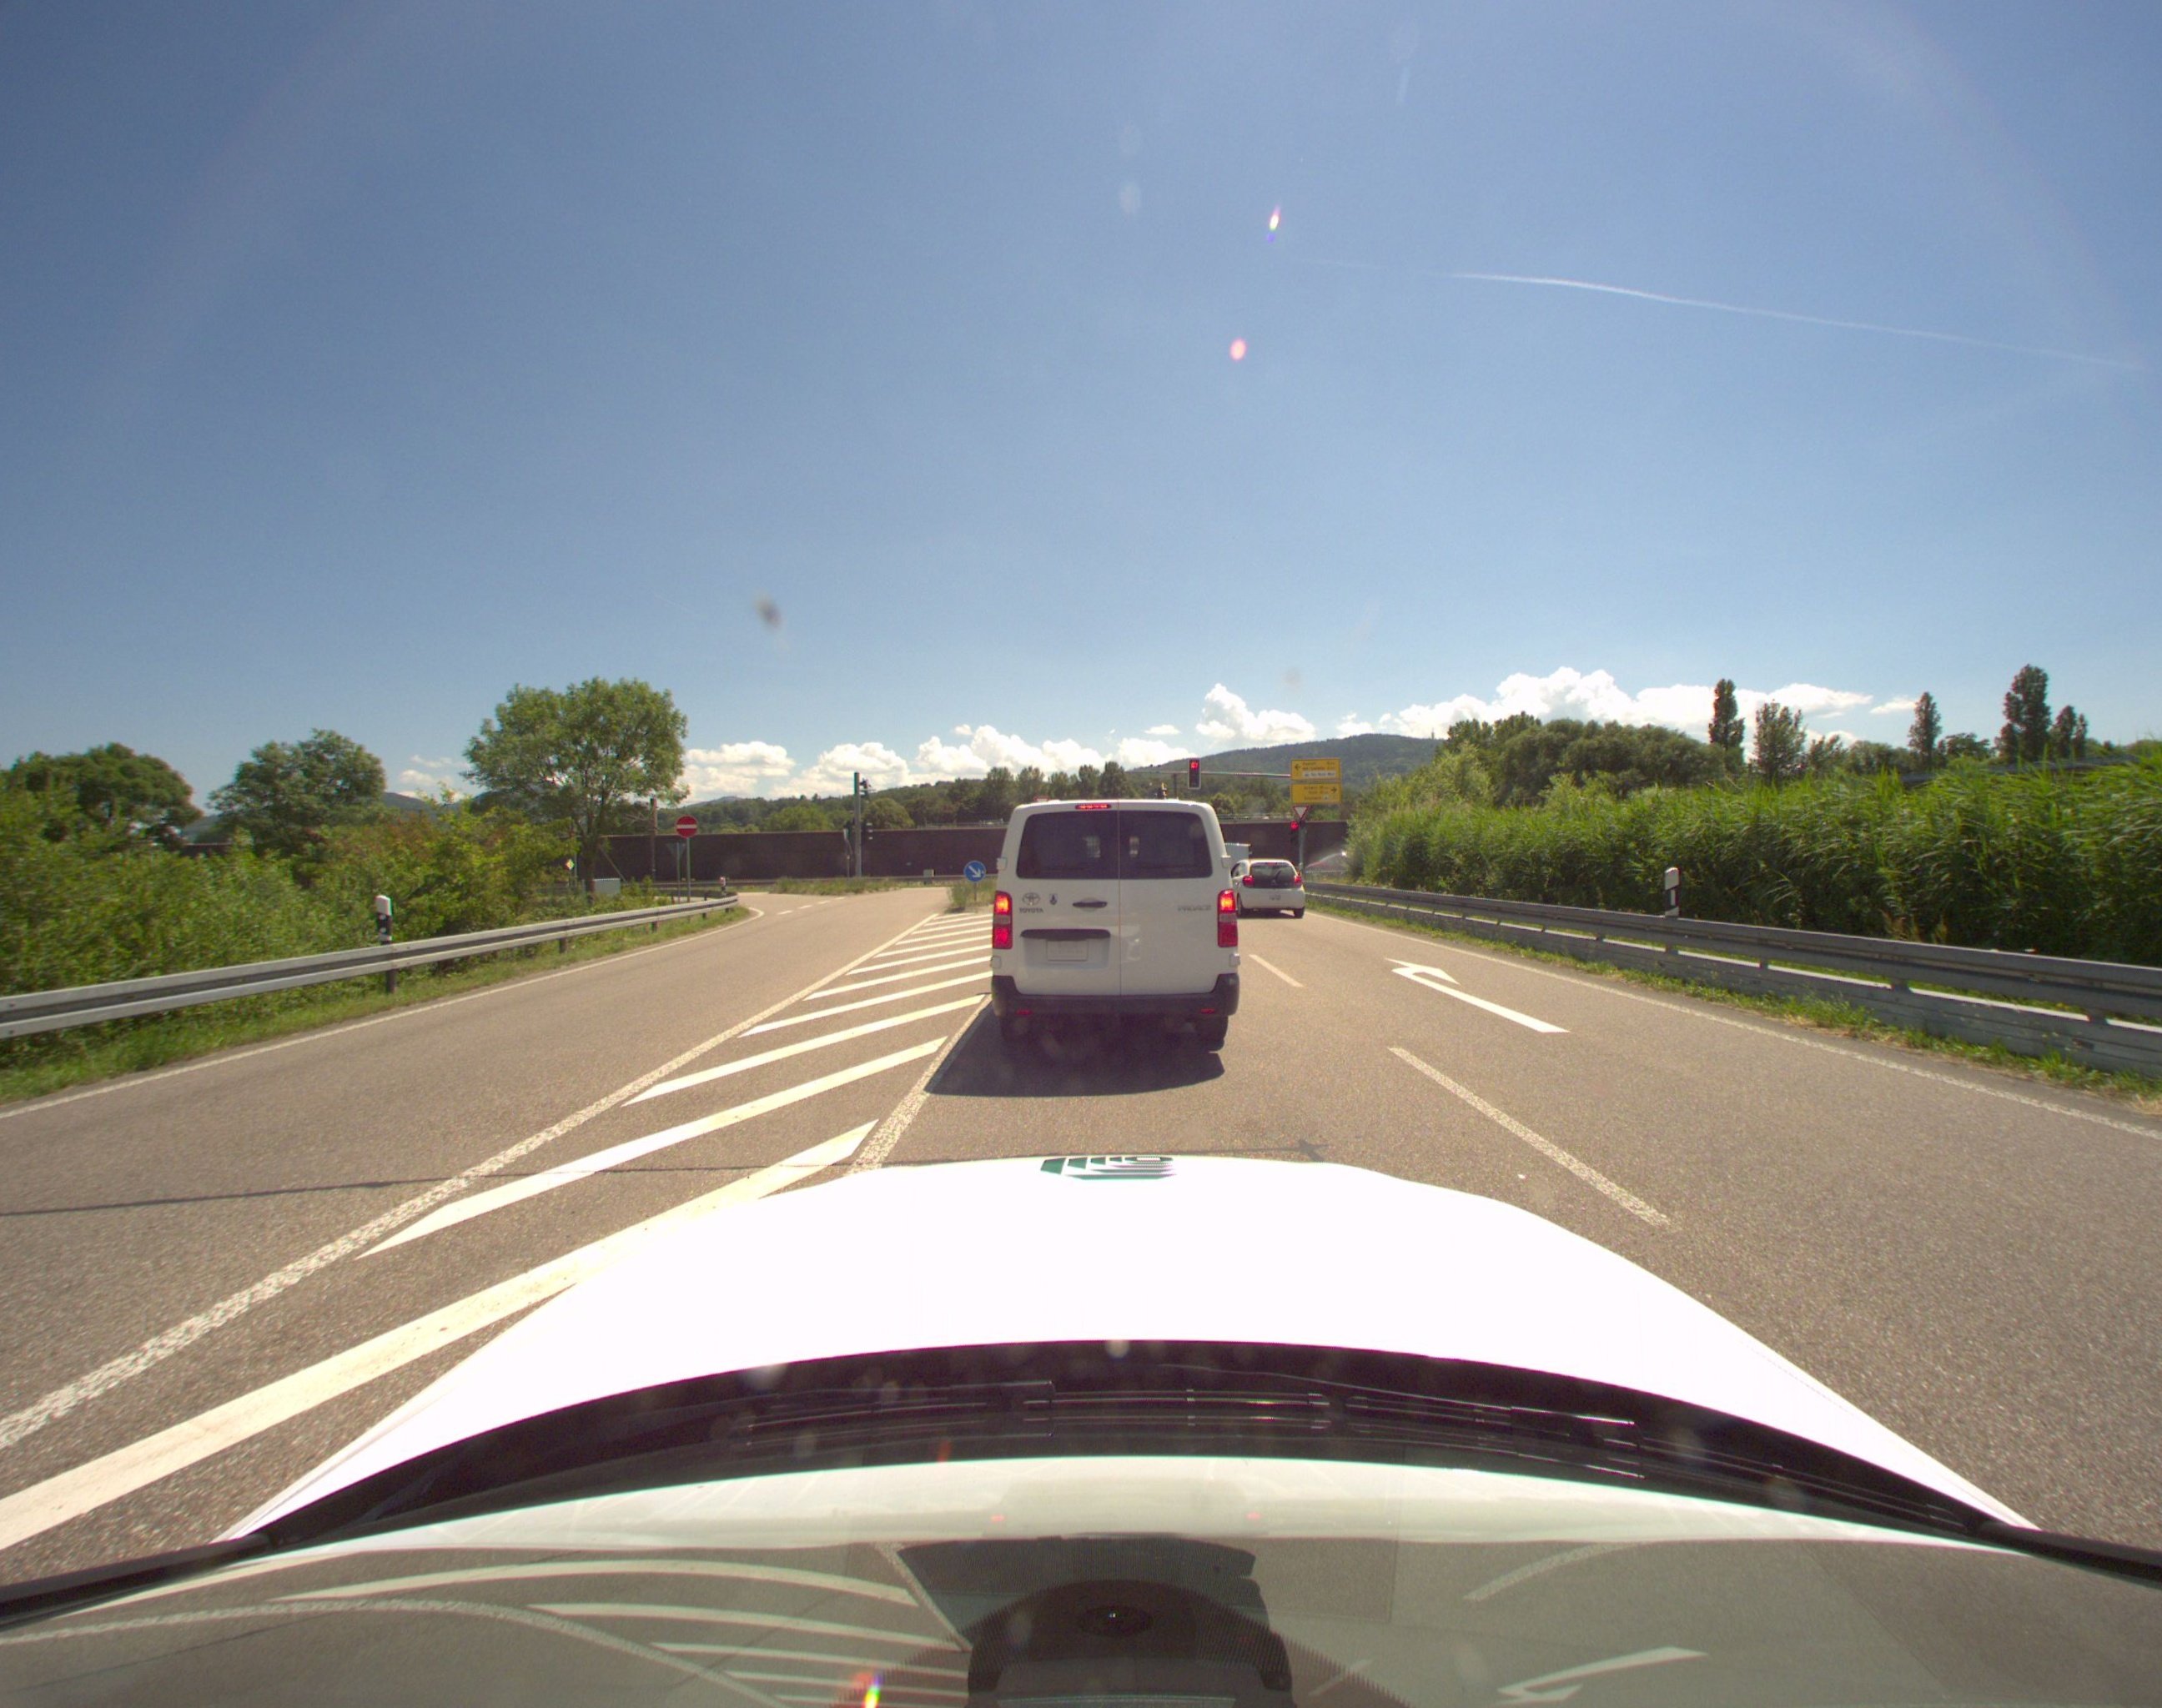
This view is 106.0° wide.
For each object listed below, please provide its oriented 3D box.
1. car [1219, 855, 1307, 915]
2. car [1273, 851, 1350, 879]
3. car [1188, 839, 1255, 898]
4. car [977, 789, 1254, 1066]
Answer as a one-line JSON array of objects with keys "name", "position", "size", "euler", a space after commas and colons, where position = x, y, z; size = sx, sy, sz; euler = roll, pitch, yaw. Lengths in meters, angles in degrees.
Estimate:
[{"name": "car", "position": [4.695, 0.771, 21.424], "size": [1.650, 1.431, 3.366], "euler": [-1, 0, 1]}, {"name": "car", "position": [14.504, 0.692, 51.433], "size": [4.298, 1.656, 1.999], "euler": [-1, 0, -2]}, {"name": "car", "position": [5.089, 0.506, 30.054], "size": [1.920, 2.000, 4.842], "euler": [-1, 0, 4]}, {"name": "car", "position": [0.289, 0.517, 7.595], "size": [1.880, 1.886, 4.001], "euler": [-1, 0, 1]}]
